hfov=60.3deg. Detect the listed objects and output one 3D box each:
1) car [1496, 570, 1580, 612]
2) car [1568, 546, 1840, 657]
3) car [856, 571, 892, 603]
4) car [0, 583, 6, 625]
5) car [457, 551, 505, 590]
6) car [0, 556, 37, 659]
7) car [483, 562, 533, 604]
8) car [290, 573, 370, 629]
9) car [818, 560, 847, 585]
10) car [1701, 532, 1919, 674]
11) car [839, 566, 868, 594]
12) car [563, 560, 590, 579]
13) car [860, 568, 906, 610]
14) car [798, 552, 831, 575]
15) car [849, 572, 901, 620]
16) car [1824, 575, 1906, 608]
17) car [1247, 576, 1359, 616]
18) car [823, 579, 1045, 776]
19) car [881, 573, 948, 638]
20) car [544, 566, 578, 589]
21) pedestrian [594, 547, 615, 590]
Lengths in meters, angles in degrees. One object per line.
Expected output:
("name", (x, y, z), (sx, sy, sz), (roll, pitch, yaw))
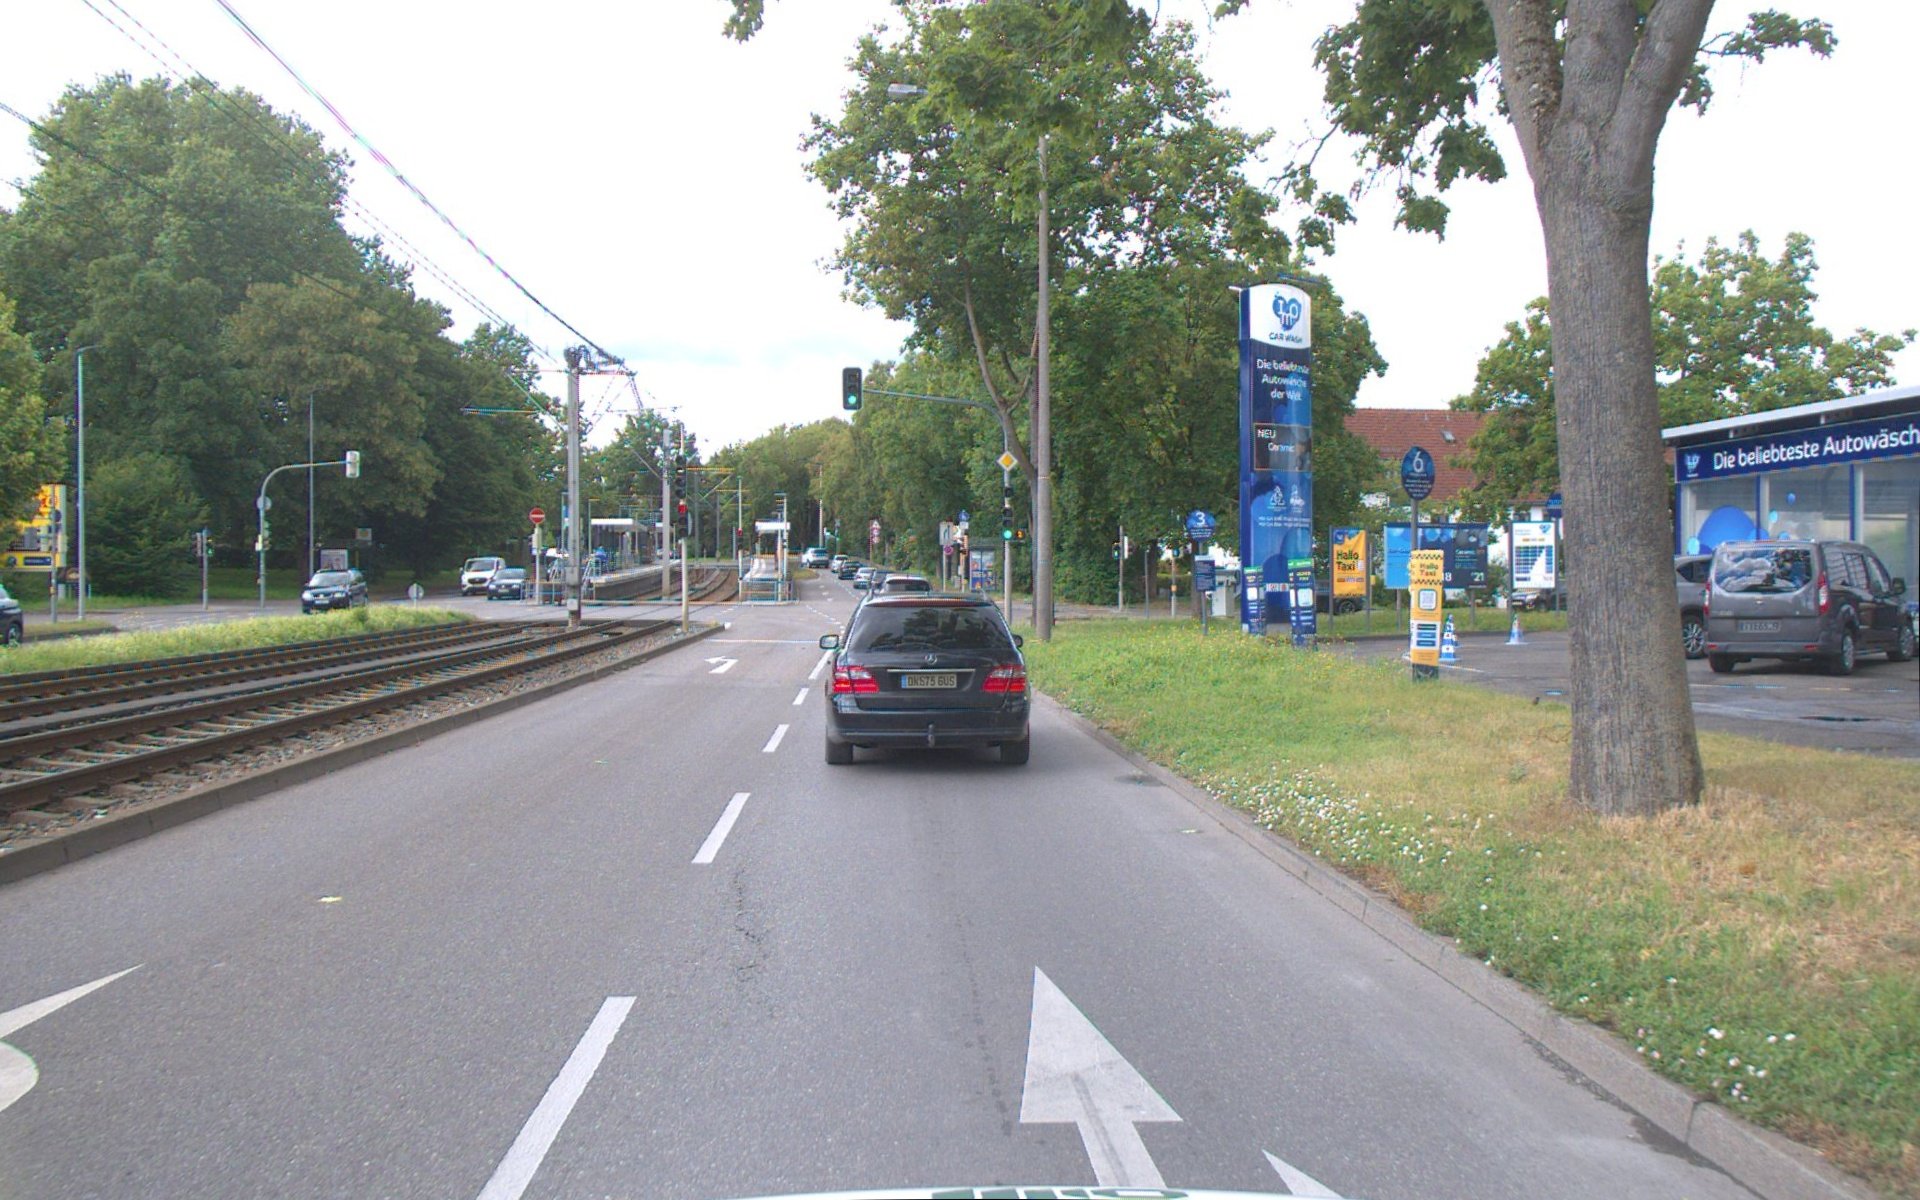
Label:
("car", (27.358, -0.410, 78.242), (3.962, 1.796, 1.971), (2, 0, -40))
("car", (12.485, -0.019, 27.762), (4.139, 1.727, 1.829), (-1, 1, -22))
("car", (-5.409, -0.818, 103.921), (1.956, 1.926, 3.994), (2, 0, -7))
("car", (-34.688, 0.156, 55.879), (3.803, 1.432, 1.845), (-1, 0, -6))
("car", (-26.453, -1.616, 91.516), (1.957, 2.049, 4.875), (-1, 1, -9))
("car", (-19.911, 0.158, 32.185), (1.956, 2.049, 4.240), (-1, 0, -8))
("car", (-21.578, -0.792, 79.057), (1.665, 1.893, 3.994), (2, 0, -7))
("car", (-24.160, 0.010, 63.599), (1.956, 2.049, 4.100), (-1, 0, -8))
("car", (-10.954, -2.366, 141.996), (1.959, 2.049, 3.988), (2, 0, -12))
("car", (12.346, 0.004, 23.820), (1.721, 1.853, 4.355), (0, 1, 43))
("car", (-8.056, -1.478, 124.945), (1.956, 2.001, 3.994), (2, 0, -7))
("car", (-31.611, -2.476, 136.367), (1.654, 1.471, 3.994), (-2, 1, -7))
("car", (-3.864, -0.560, 82.625), (1.956, 1.951, 3.994), (2, 0, -7))
("car", (-13.802, -3.469, 156.302), (1.966, 2.049, 3.972), (2, 0, -23))
("car", (-3.129, -0.139, 61.644), (1.745, 1.677, 3.999), (2, 0, -1))
("car", (43.751, -0.416, 79.932), (3.954, 1.544, 1.976), (0, 1, -35))
("car", (13.441, -0.144, 64.947), (4.066, 1.552, 1.705), (0, 0, 2))
("car", (-0.365, 0.595, 15.160), (1.747, 1.552, 3.996), (0, 0, -5))
("car", (-1.244, 0.138, 46.504), (1.745, 1.677, 3.999), (2, 0, -1))
("car", (-29.925, -1.688, 124.193), (1.956, 1.507, 4.501), (2, 2, -7))
("pedestrian", (-18.688, -1.639, 86.965), (0.951, 2.224, 0.975), (0, 1, -5))
